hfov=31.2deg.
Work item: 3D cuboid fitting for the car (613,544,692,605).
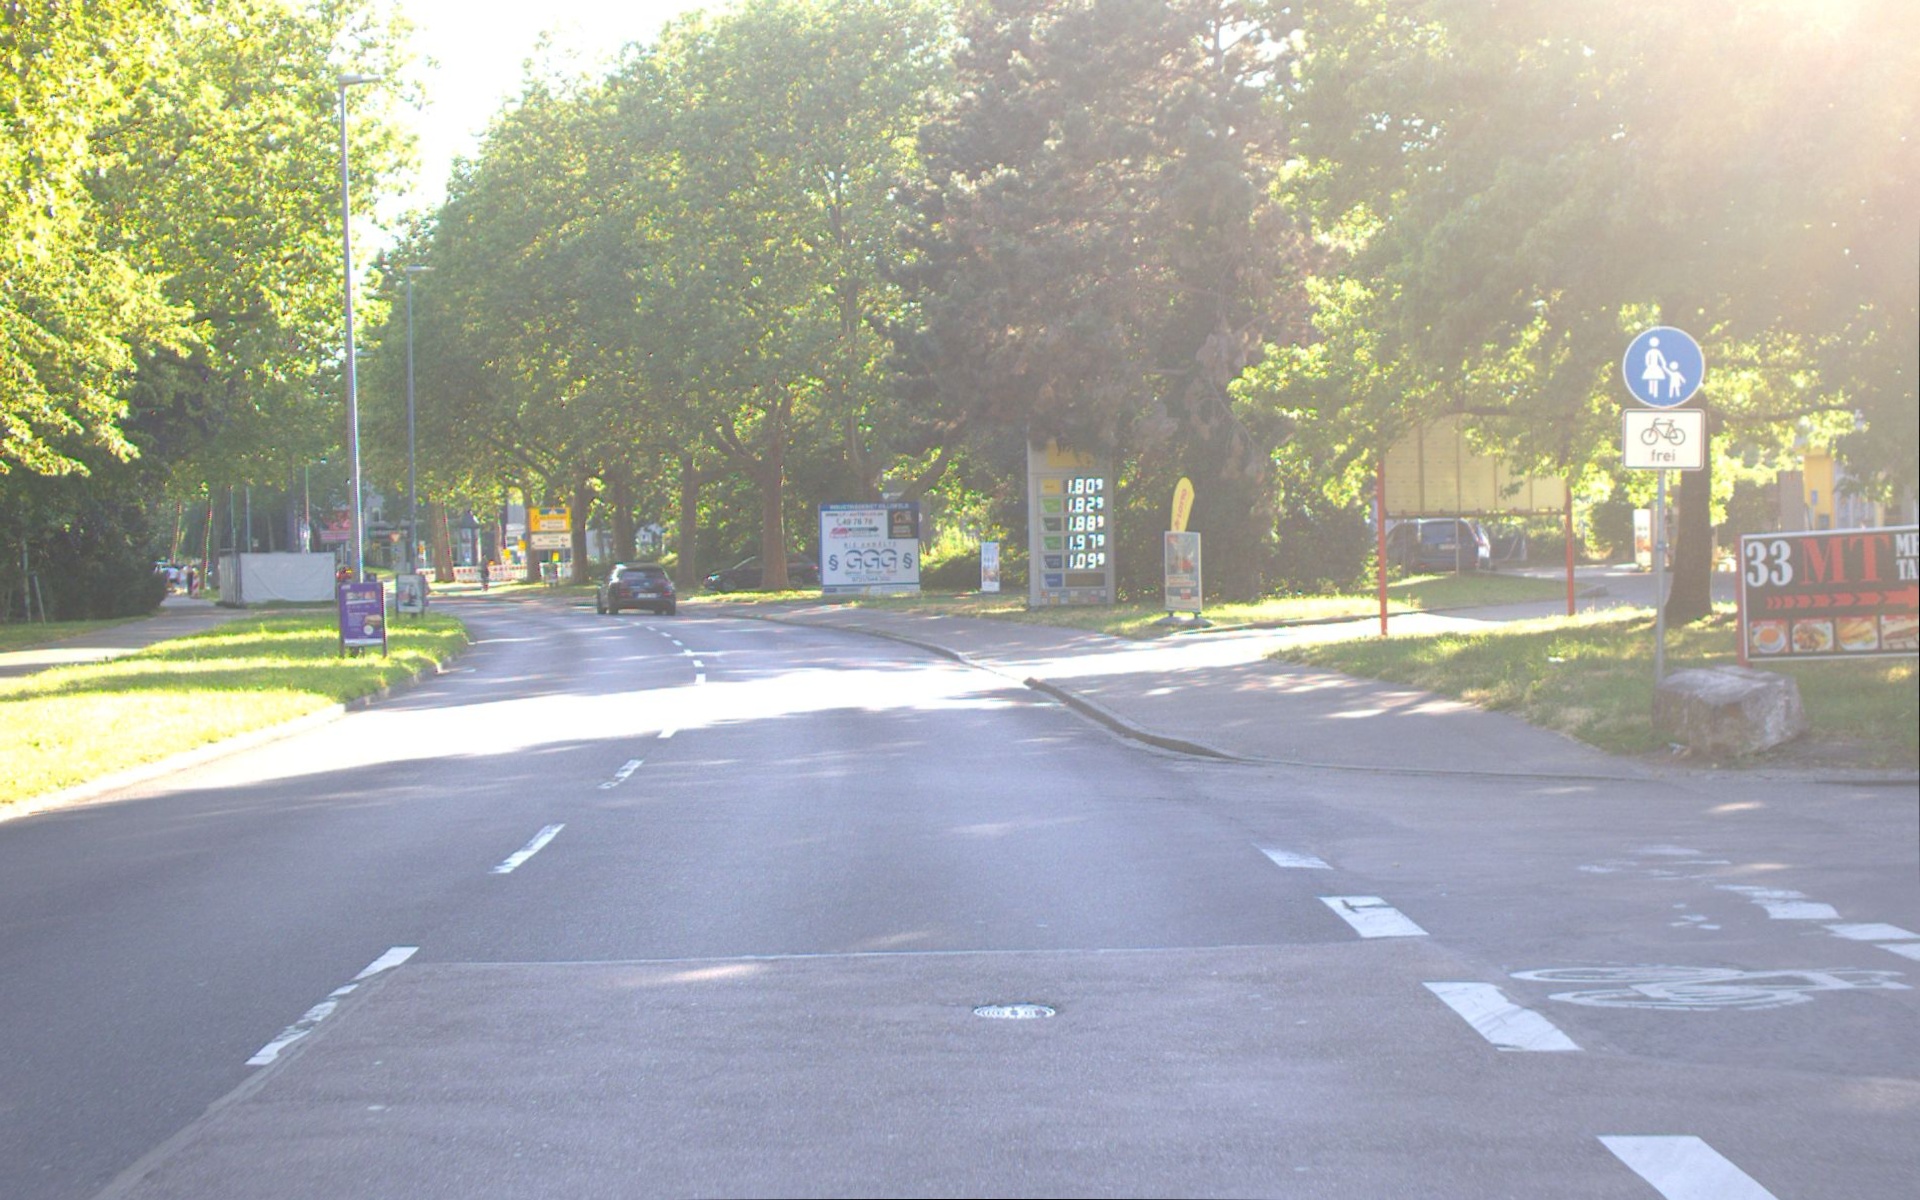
[{"bbox_3d":[-8.463,-0.727,94.856,1.839,1.600,3.863,-1,1,0],"label":"car"}]

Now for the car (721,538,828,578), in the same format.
[{"bbox_3d":[-7.406,-1.677,136.991,3.986,1.438,1.761,-2,1,-11],"label":"car"}]

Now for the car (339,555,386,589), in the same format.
[{"bbox_3d":[-36.850,-1.750,212.068,1.993,2.007,4.000,-1,1,2],"label":"car"}]

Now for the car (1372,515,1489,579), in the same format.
[{"bbox_3d":[11.029,-1.260,80.805,1.841,1.415,4.001,-1,1,-5],"label":"car"}]

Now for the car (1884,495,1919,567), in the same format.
[{"bbox_3d":[23.978,-1.684,82.629,1.812,1.722,4.399,-2,1,-8],"label":"car"}]
